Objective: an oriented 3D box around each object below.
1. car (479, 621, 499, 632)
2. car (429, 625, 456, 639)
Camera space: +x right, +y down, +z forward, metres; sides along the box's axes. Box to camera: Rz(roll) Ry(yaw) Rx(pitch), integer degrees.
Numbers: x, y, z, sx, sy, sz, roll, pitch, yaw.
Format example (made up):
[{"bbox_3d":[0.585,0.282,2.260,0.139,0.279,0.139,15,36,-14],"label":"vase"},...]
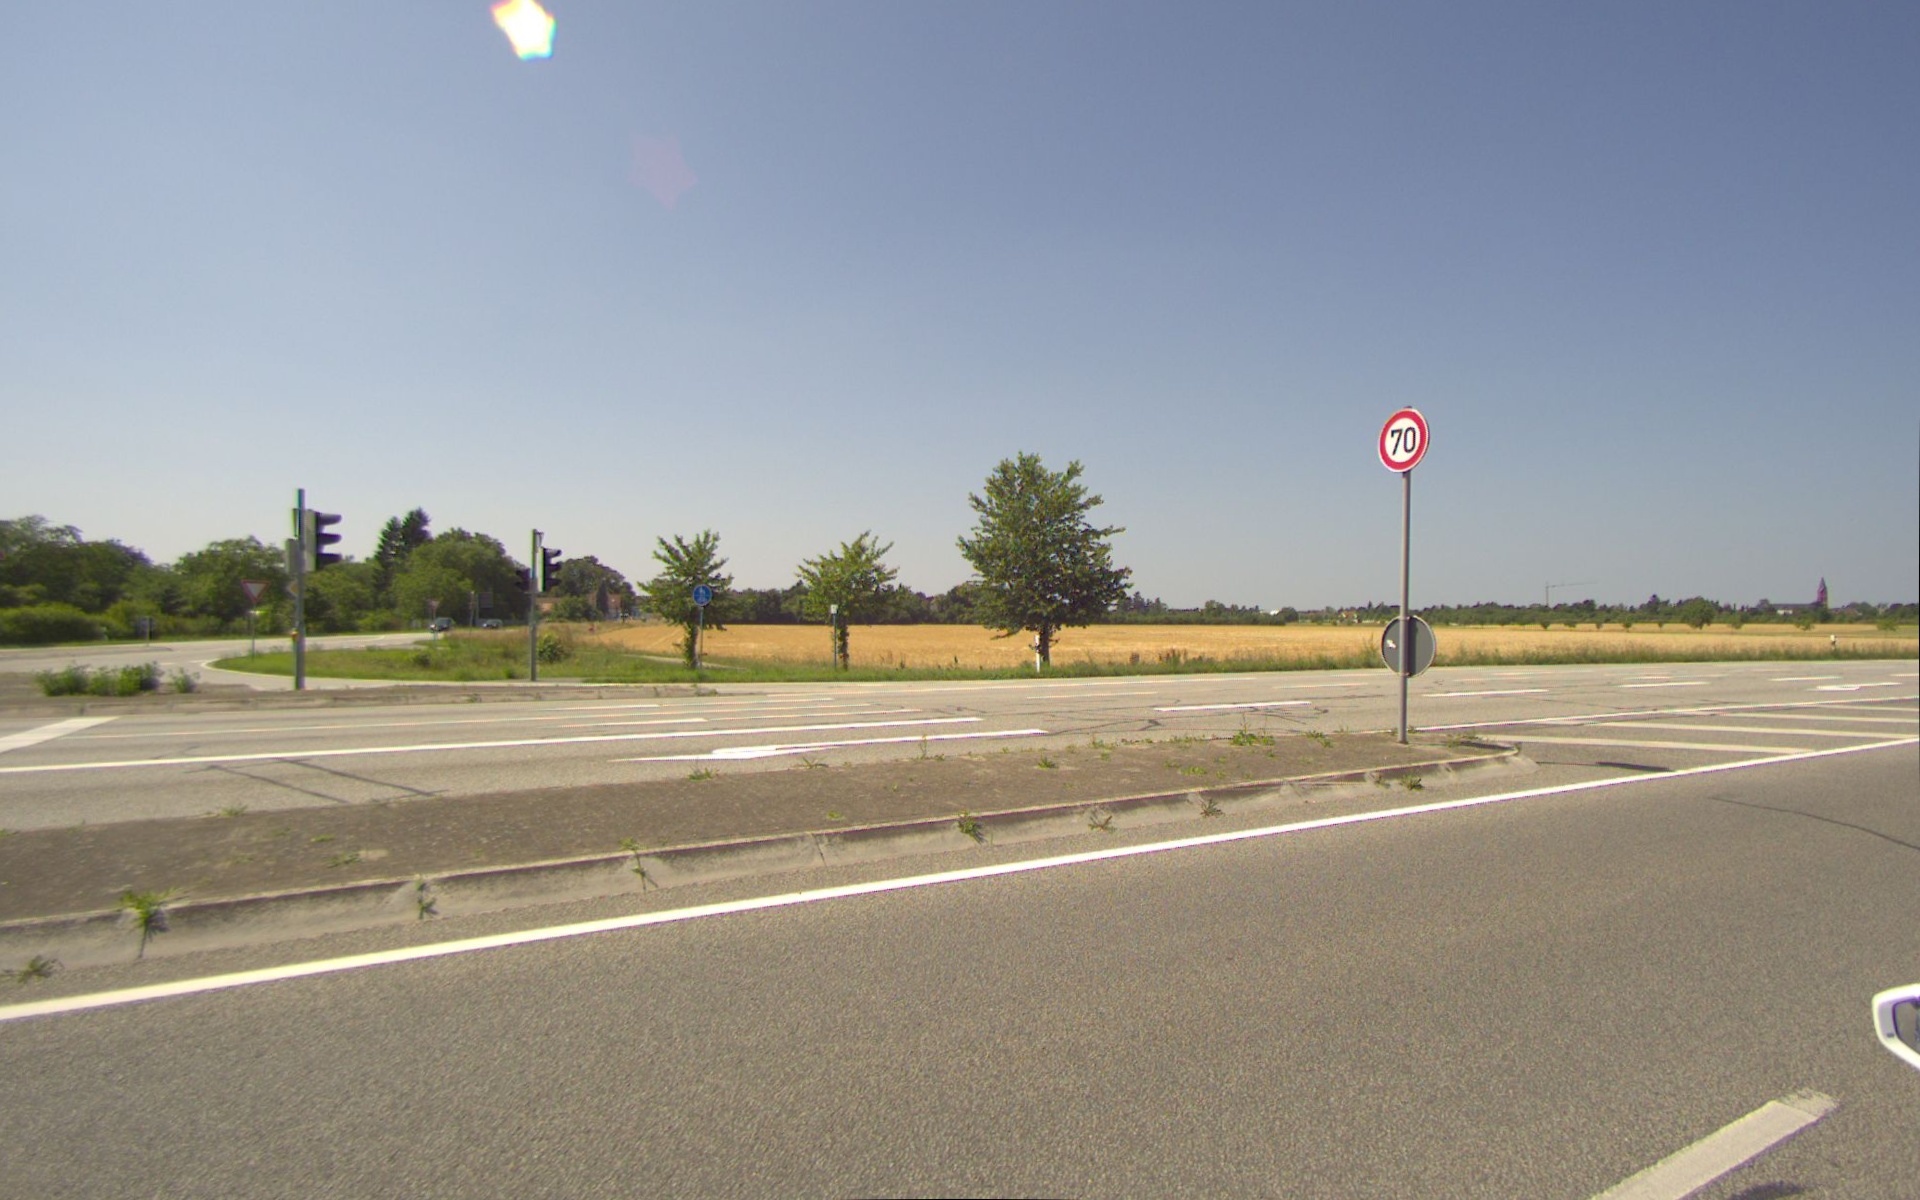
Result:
[{"bbox_3d":[-60.921,3.467,129.876,1.473,1.405,3.767,0,-2,-12],"label":"car"},{"bbox_3d":[-52.497,3.263,101.991,1.473,1.405,3.767,0,-2,-12],"label":"car"}]
